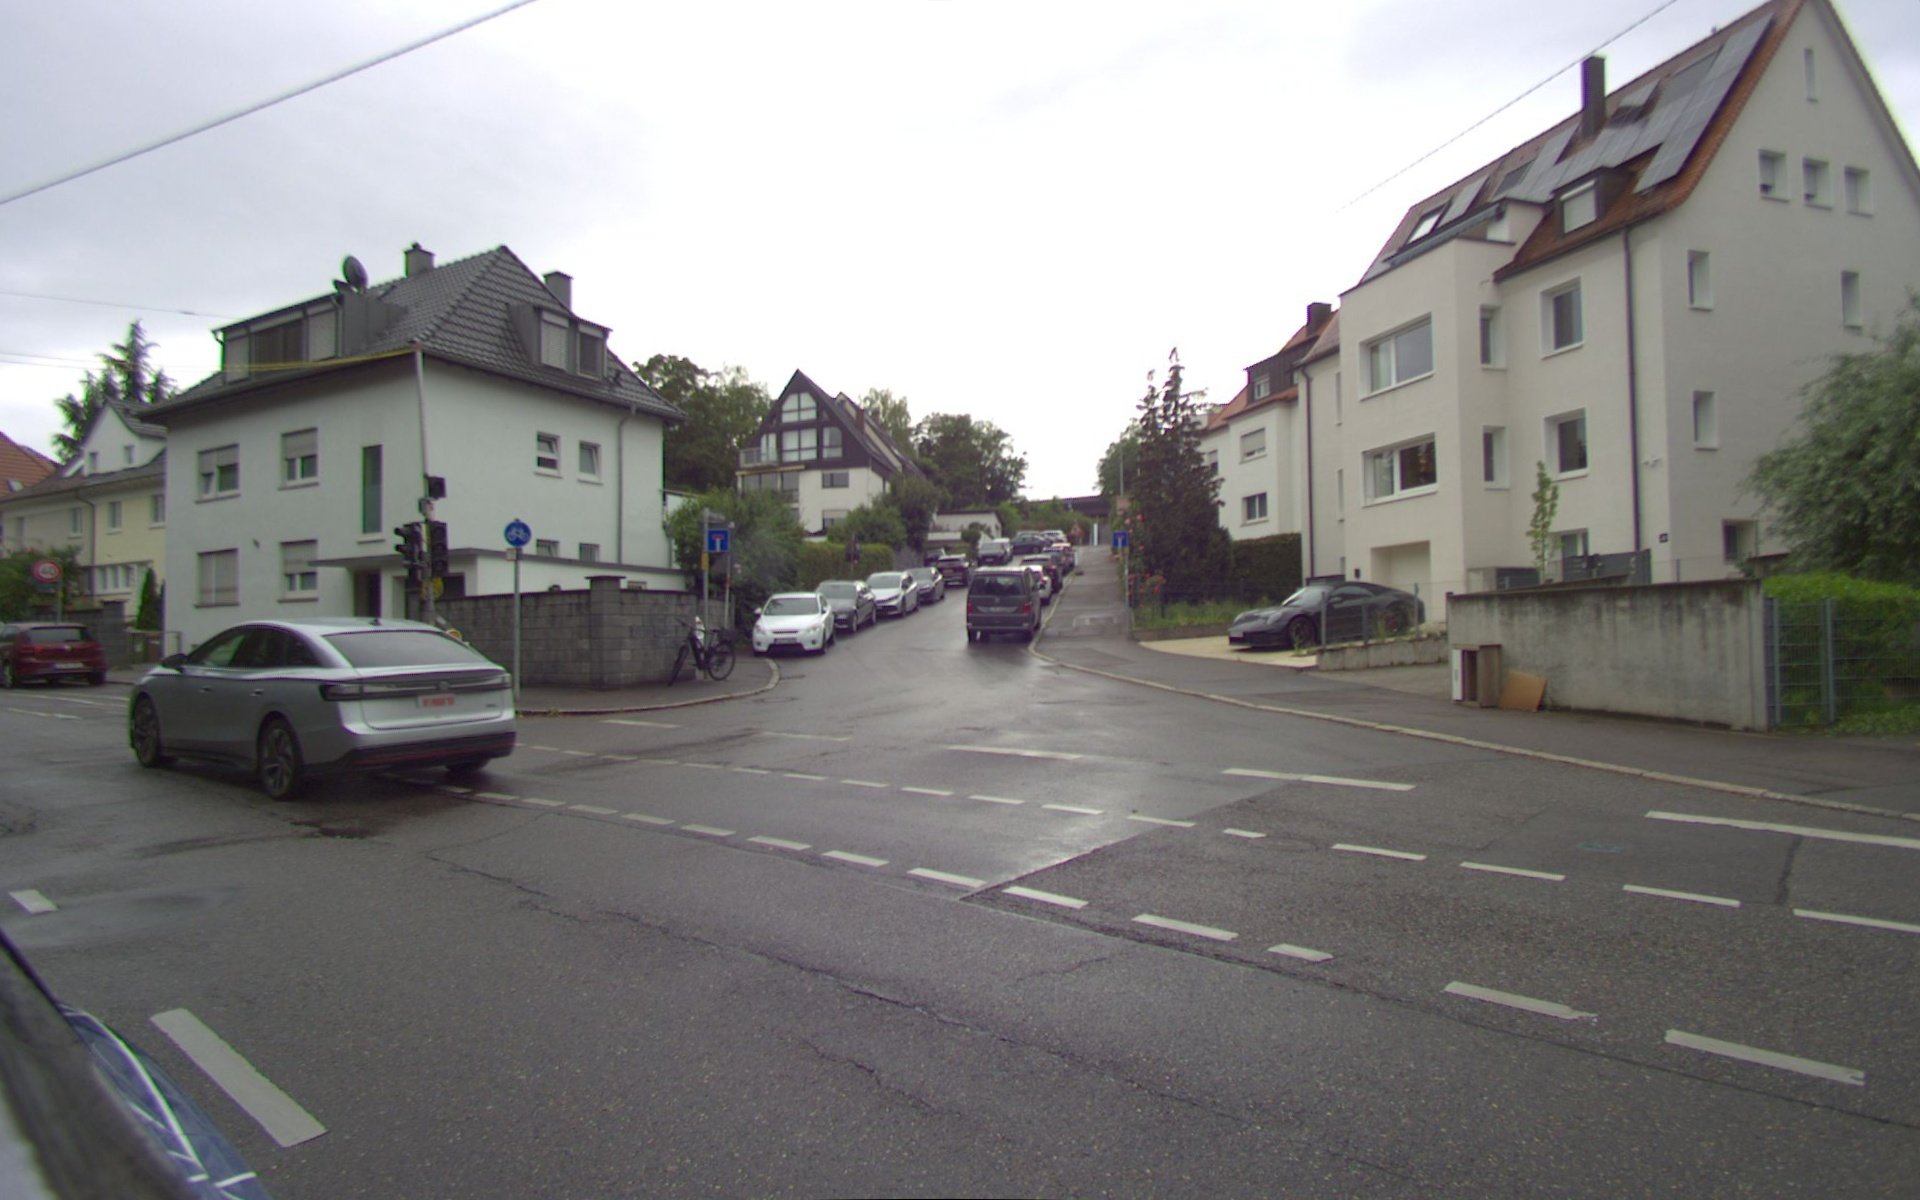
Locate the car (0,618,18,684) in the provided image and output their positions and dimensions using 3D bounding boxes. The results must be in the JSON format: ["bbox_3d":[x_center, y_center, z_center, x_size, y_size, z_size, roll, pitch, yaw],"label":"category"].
[{"bbox_3d":[-26.152,1.321,25.773,4.131,1.653,1.782,-1,-1,25],"label":"car"}]

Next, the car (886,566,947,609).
[{"bbox_3d":[-1.805,-0.553,42.957,1.903,1.448,4.100,-1,5,7],"label":"car"}]

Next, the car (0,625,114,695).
[{"bbox_3d":[-21.468,1.337,23.381,3.833,1.443,1.768,-1,-1,30],"label":"car"}]

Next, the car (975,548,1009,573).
[{"bbox_3d":[2.198,-2.670,68.884,1.770,1.531,4.016,-1,0,9],"label":"car"}]

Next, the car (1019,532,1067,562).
[{"bbox_3d":[7.205,-4.563,87.640,3.954,2.028,1.995,-5,-1,8],"label":"car"}]

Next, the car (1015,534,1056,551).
[{"bbox_3d":[7.394,-5.590,98.786,3.922,1.528,1.748,-1,0,6],"label":"car"}]

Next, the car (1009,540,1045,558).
[{"bbox_3d":[5.556,-4.199,83.652,2.914,1.328,1.282,-1,0,4],"label":"car"}]

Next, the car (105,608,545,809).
[{"bbox_3d":[-6.333,0.870,9.907,4.805,1.539,1.838,-1,-1,33],"label":"car"}]

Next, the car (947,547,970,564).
[{"bbox_3d":[-0.080,-3.259,74.019,1.559,1.220,3.650,-1,3,2],"label":"car"}]

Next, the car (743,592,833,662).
[{"bbox_3d":[-4.353,0.625,26.154,1.827,1.473,4.124,-1,3,-3],"label":"car"}]

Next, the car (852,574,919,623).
[{"bbox_3d":[-2.657,-0.084,37.085,1.738,1.481,3.940,-1,4,6],"label":"car"}]

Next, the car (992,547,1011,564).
[{"bbox_3d":[3.060,-3.327,74.709,1.292,1.206,2.980,-1,3,5],"label":"car"}]

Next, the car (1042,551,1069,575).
[{"bbox_3d":[5.504,-2.144,58.109,1.274,1.325,2.984,-1,3,10],"label":"car"}]

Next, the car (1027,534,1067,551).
[{"bbox_3d":[8.942,-5.901,103.912,3.782,1.529,1.664,-1,-1,15],"label":"car"}]

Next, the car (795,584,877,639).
[{"bbox_3d":[-3.826,0.320,31.816,1.702,1.397,3.900,-1,4,6],"label":"car"}]

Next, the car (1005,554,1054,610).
[{"bbox_3d":[2.821,-0.754,40.322,1.686,1.843,4.194,-1,6,7],"label":"car"}]

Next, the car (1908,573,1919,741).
[{"bbox_3d":[10.605,0.421,8.546,3.934,1.497,1.780,-2,-1,-12],"label":"car"}]

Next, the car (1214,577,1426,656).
[{"bbox_3d":[7.708,0.333,21.770,3.942,1.290,1.613,-5,1,-13],"label":"car"}]

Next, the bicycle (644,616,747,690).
[{"bbox_3d":[-4.785,0.933,18.455,0.508,1.249,1.984,1,0,32],"label":"bicycle"}]

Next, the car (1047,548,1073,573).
[{"bbox_3d":[6.239,-2.448,62.846,1.488,1.373,3.465,-1,0,8],"label":"car"}]

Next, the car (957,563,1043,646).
[{"bbox_3d":[1.243,0.050,29.323,1.978,2.028,4.482,-1,4,9],"label":"car"}]

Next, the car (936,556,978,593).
[{"bbox_3d":[-0.113,-1.363,52.463,1.623,1.637,3.992,-1,5,8],"label":"car"}]

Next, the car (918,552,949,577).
[{"bbox_3d":[-1.825,-2.418,69.791,1.793,1.566,4.009,-1,0,3],"label":"car"}]

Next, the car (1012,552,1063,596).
[{"bbox_3d":[3.522,-1.193,45.374,1.823,1.699,4.039,-1,5,11],"label":"car"}]
